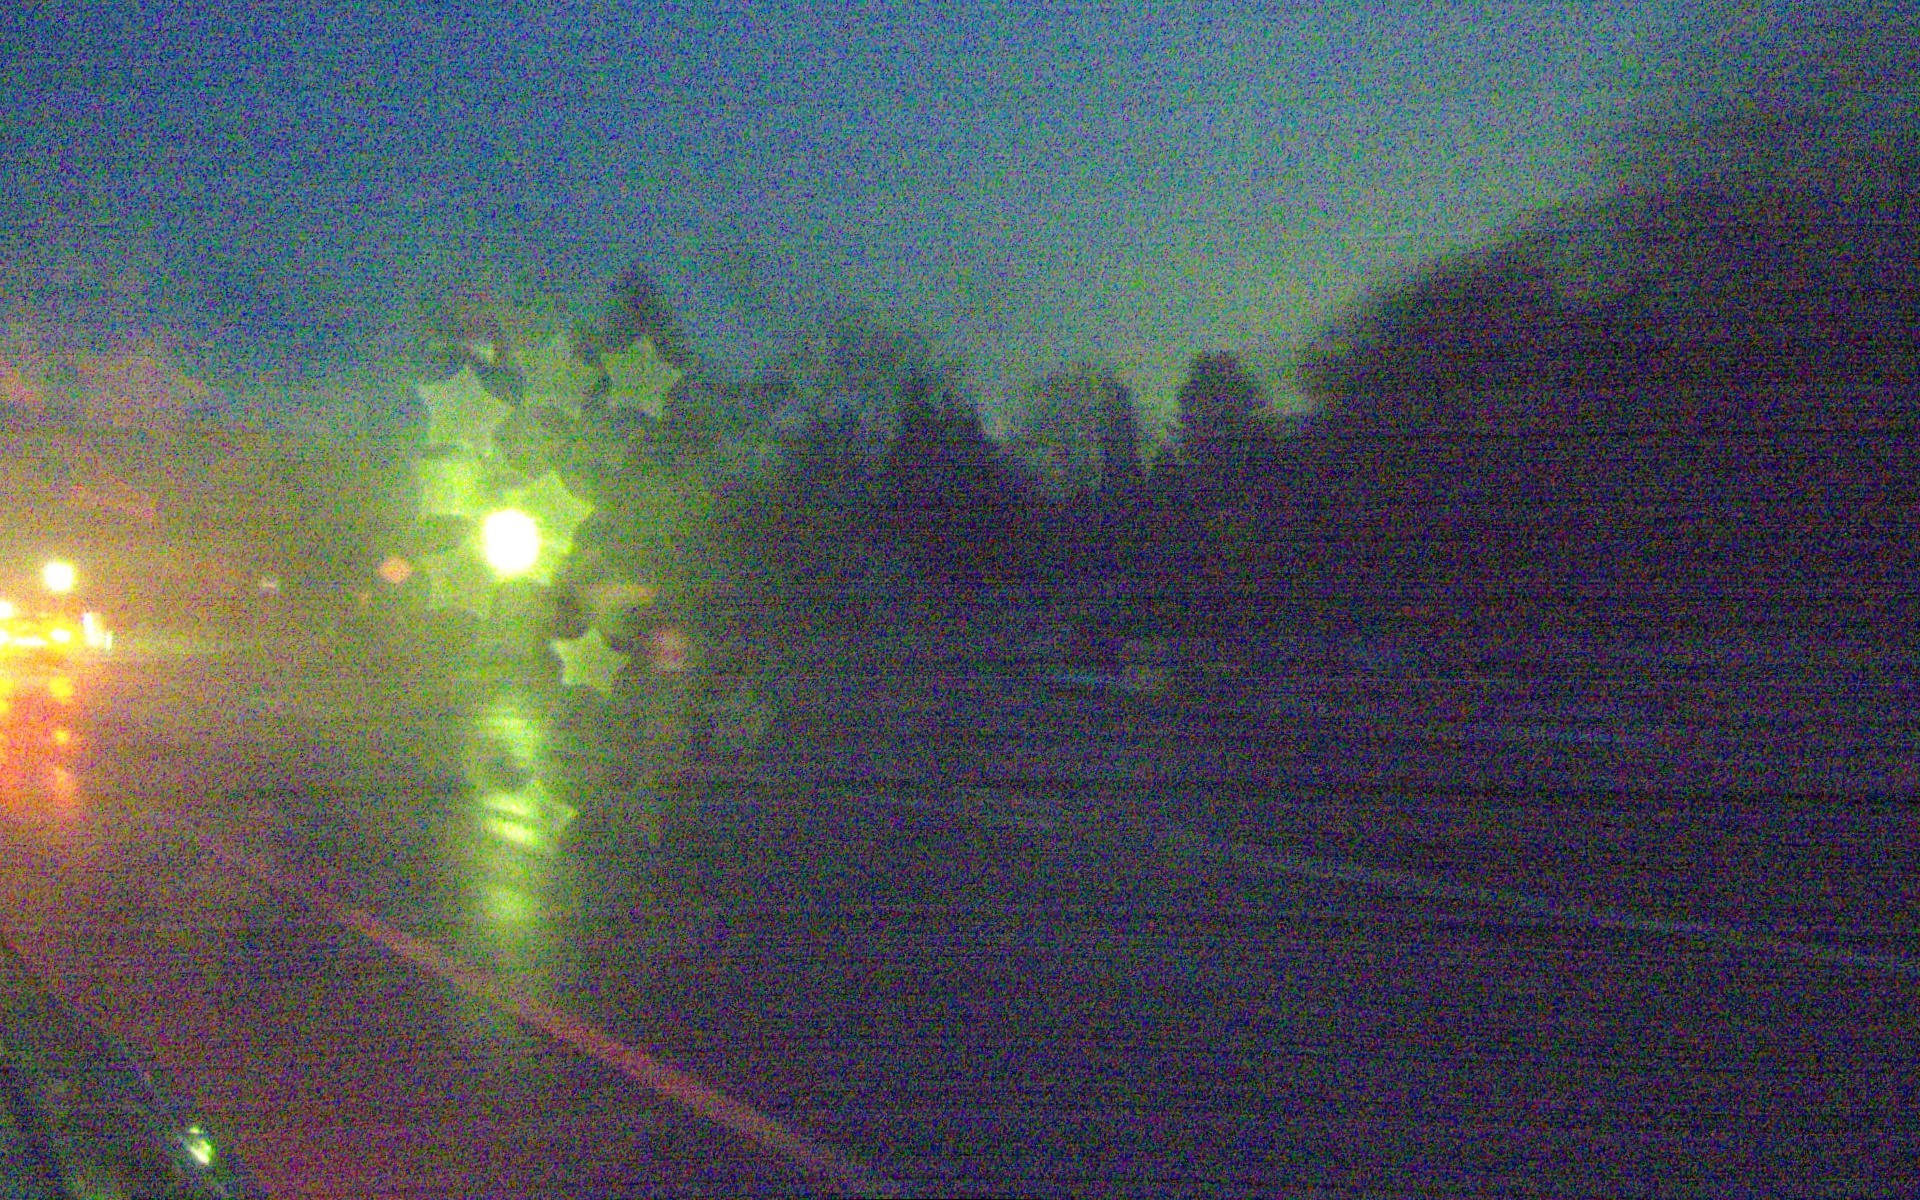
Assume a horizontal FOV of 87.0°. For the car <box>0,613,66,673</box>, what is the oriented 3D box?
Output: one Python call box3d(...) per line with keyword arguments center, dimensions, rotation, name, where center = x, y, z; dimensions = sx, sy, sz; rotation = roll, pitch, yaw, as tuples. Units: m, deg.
box3d(center=(-27.202, 1.195, 29.158), dimensions=(4.000, 1.634, 1.789), rotation=(-1, -1, 43), name="car")
